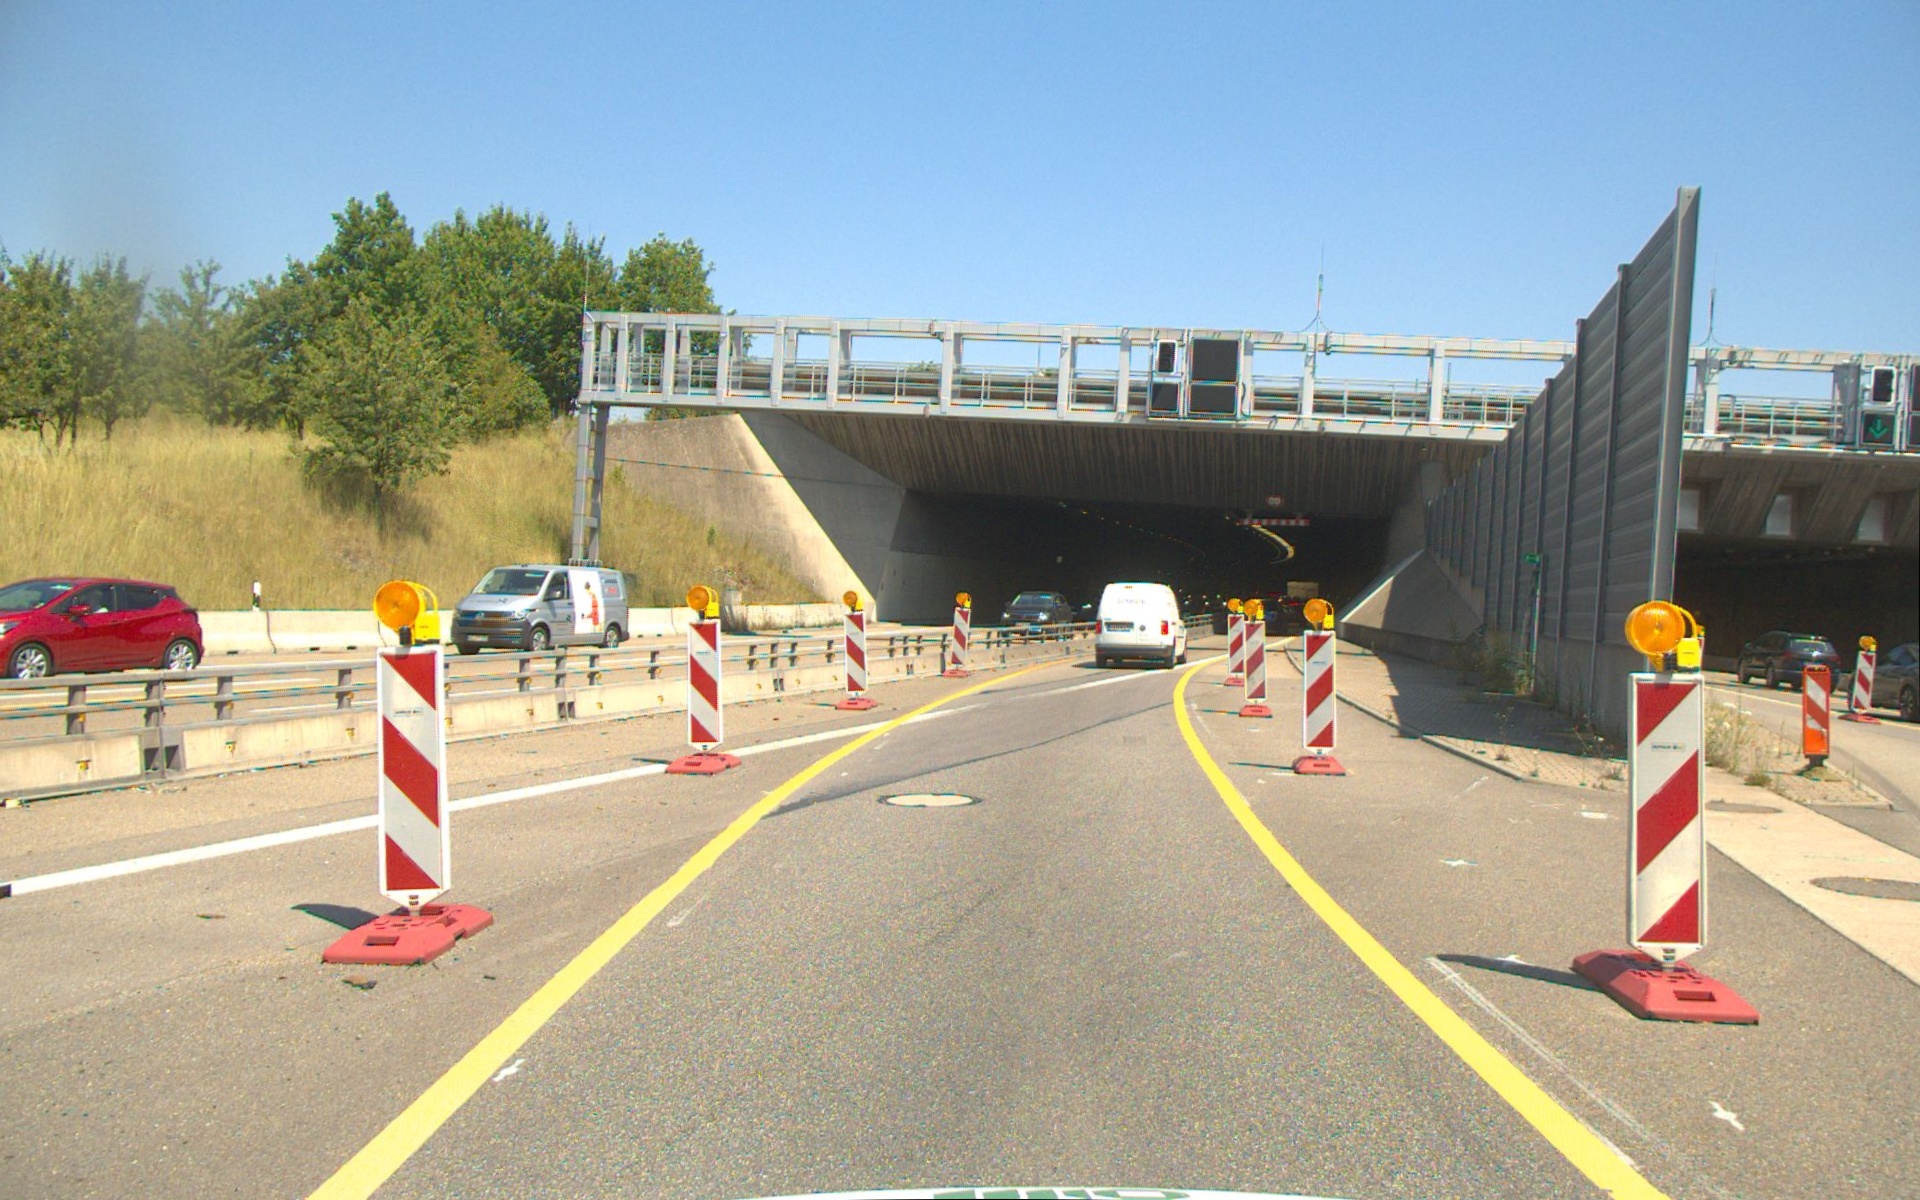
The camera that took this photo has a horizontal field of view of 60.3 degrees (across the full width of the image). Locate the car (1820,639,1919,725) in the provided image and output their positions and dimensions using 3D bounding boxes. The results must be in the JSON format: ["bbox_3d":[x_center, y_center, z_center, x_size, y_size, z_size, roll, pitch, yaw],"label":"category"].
[{"bbox_3d":[19.410,1.694,33.287,1.952,1.511,4.680,5,0,5],"label":"car"}]

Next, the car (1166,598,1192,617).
[{"bbox_3d":[18.002,0.618,136.059,1.736,1.542,4.568,1,0,12],"label":"car"}]

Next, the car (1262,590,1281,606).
[{"bbox_3d":[39.581,-0.274,210.012,1.899,2.056,4.665,1,0,5],"label":"car"}]

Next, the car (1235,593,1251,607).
[{"bbox_3d":[43.834,-0.040,256.043,2.029,2.056,4.665,1,0,5],"label":"car"}]

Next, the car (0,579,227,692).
[{"bbox_3d":[-12.301,0.471,22.833,1.652,1.419,4.000,1,-1,20],"label":"car"}]

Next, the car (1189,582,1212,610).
[{"bbox_3d":[23.456,-0.399,161.015,1.951,2.559,6.047,1,0,11],"label":"car"}]

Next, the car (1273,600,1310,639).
[{"bbox_3d":[17.290,1.006,86.395,1.770,1.846,4.413,3,0,11],"label":"car"}]

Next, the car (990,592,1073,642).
[{"bbox_3d":[2.498,0.558,56.819,1.706,1.621,4.229,1,0,19],"label":"car"}]

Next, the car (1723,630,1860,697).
[{"bbox_3d":[24.997,1.872,49.919,1.977,1.691,5.241,5,0,8],"label":"car"}]

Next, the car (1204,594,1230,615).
[{"bbox_3d":[19.576,0.322,126.010,1.735,1.605,4.450,1,0,11],"label":"car"}]

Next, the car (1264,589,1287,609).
[{"bbox_3d":[33.412,-0.087,175.163,1.899,2.056,4.665,1,0,5],"label":"car"}]

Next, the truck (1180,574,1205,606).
[{"bbox_3d":[29.333,-1.257,208.458,2.750,3.984,6.461,1,0,10],"label":"truck"}]

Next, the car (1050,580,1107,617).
[{"bbox_3d":[5.890,-0.072,81.840,1.736,1.757,4.870,1,0,17],"label":"car"}]

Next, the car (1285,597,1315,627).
[{"bbox_3d":[21.262,0.746,103.522,1.770,1.781,4.413,3,0,11],"label":"car"}]

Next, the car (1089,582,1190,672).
[{"bbox_3d":[4.075,0.580,37.113,1.770,1.825,3.734,3,0,12],"label":"car"}]

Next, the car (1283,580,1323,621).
[{"bbox_3d":[25.857,0.089,124.414,2.753,2.822,7.106,-1,-2,13],"label":"car"}]

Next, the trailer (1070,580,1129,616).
[{"bbox_3d":[7.372,-0.119,86.842,1.905,1.837,5.526,1,0,17],"label":"trailer"}]

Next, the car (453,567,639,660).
[{"bbox_3d":[-8.908,0.309,36.042,1.652,1.866,4.790,1,-1,17],"label":"car"}]

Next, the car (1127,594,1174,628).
[{"bbox_3d":[9.446,0.514,81.718,1.736,1.621,4.990,1,0,13],"label":"car"}]

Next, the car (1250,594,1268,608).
[{"bbox_3d":[42.664,0.130,236.153,2.029,2.056,4.665,1,0,5],"label":"car"}]

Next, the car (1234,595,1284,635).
[{"bbox_3d":[12.817,0.644,70.769,1.770,1.564,4.413,3,0,14],"label":"car"}]
